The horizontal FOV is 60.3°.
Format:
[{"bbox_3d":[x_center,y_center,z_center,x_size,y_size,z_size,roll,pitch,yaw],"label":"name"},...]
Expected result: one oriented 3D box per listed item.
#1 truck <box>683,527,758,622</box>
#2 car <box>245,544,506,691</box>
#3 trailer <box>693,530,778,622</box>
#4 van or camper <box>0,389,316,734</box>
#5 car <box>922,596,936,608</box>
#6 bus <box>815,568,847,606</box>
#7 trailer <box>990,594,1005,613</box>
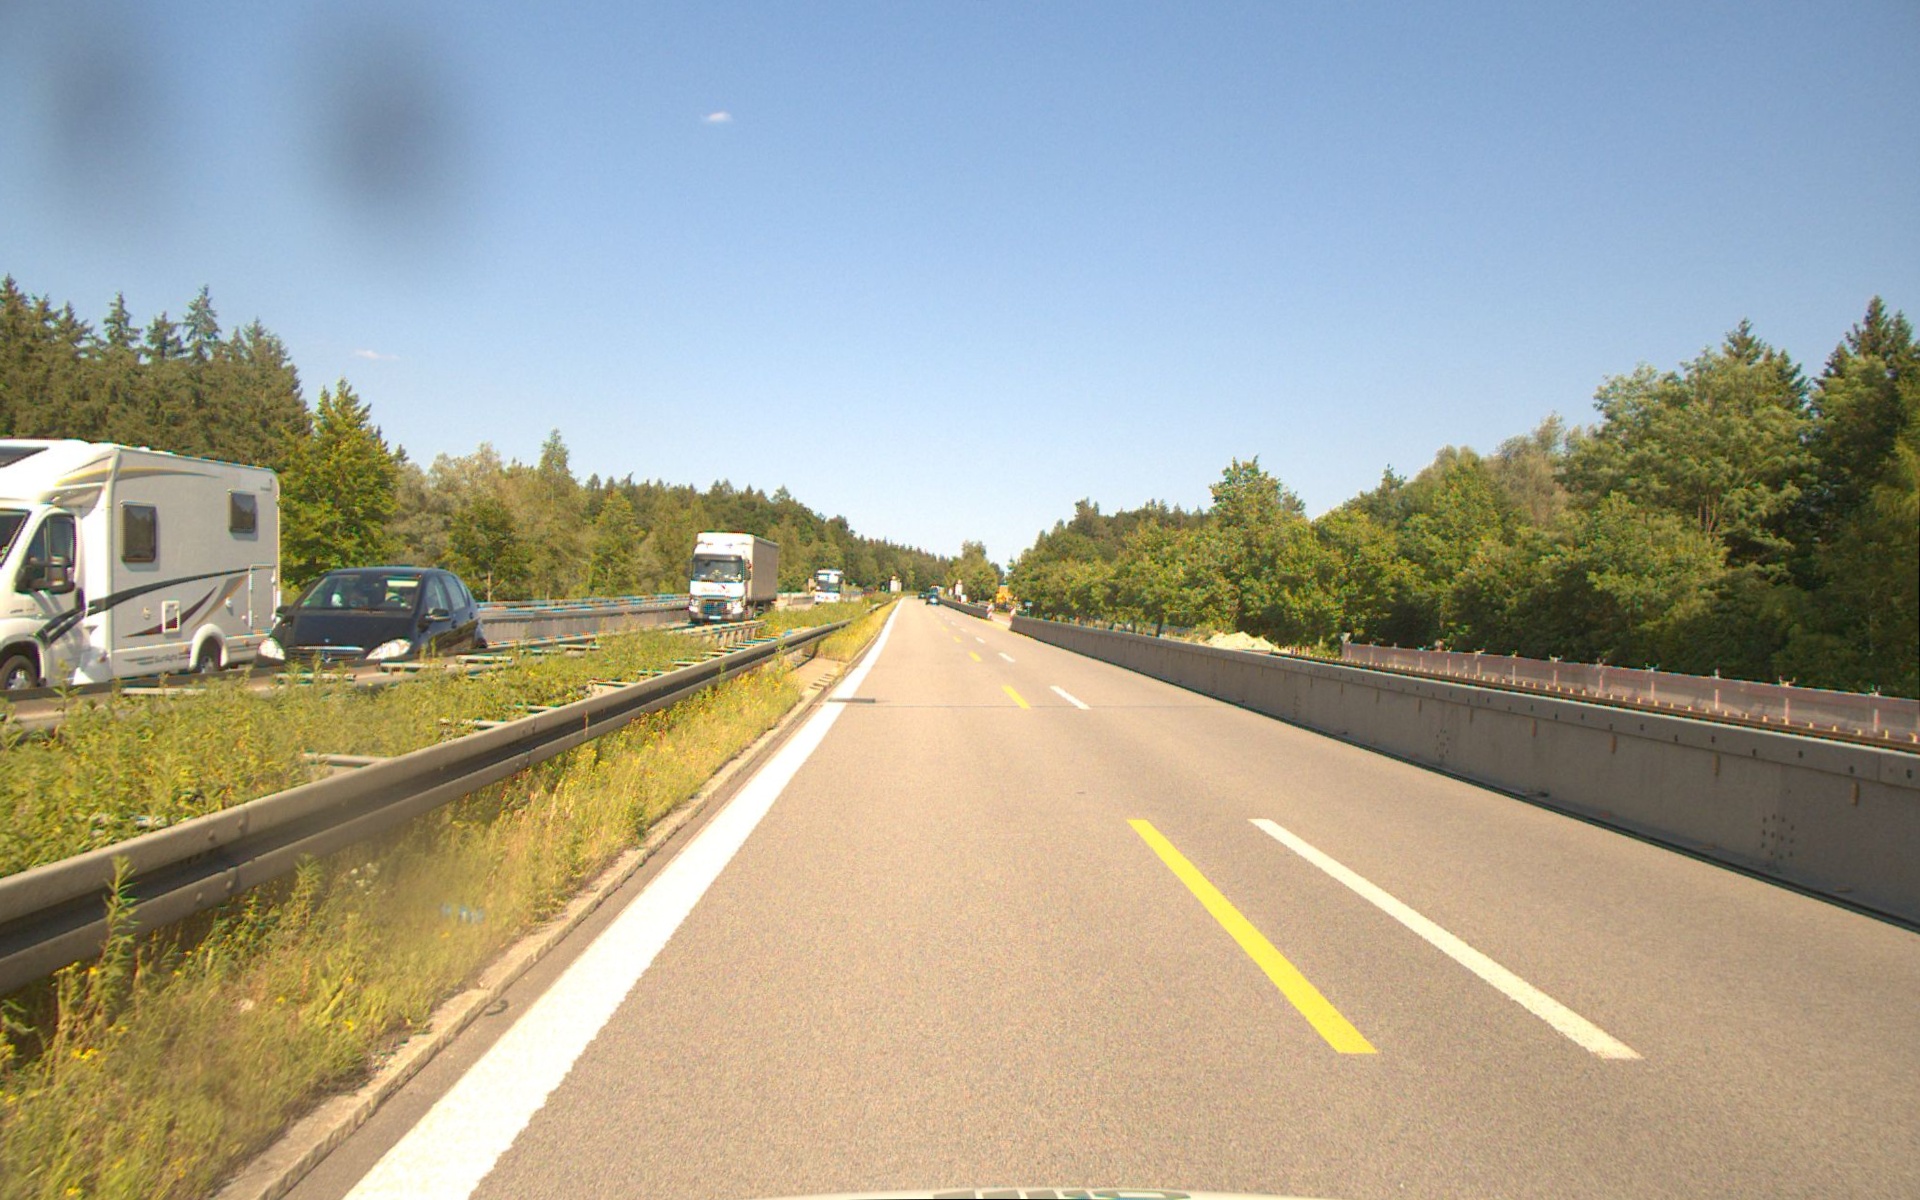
[{"bbox_3d":[-10.820,-1.110,75.087,2.714,4.159,5.473,0,0,-2],"label":"truck"},{"bbox_3d":[-6.783,0.185,19.645,1.706,1.557,3.999,-1,0,-1],"label":"car"},{"bbox_3d":[-10.943,-1.108,81.921,2.686,4.142,13.991,0,0,-2],"label":"trailer"},{"bbox_3d":[-9.568,-0.355,17.803,2.357,3.002,7.521,1,0,-1],"label":"van or camper"},{"bbox_3d":[-4.113,0.211,217.178,1.709,1.492,4.292,2,0,-2],"label":"car"},{"bbox_3d":[-13.412,-1.346,172.677,2.824,3.734,12.911,3,0,-3],"label":"bus"},{"bbox_3d":[3.904,0.397,172.556,1.103,1.906,3.997,2,0,-4],"label":"trailer"}]
